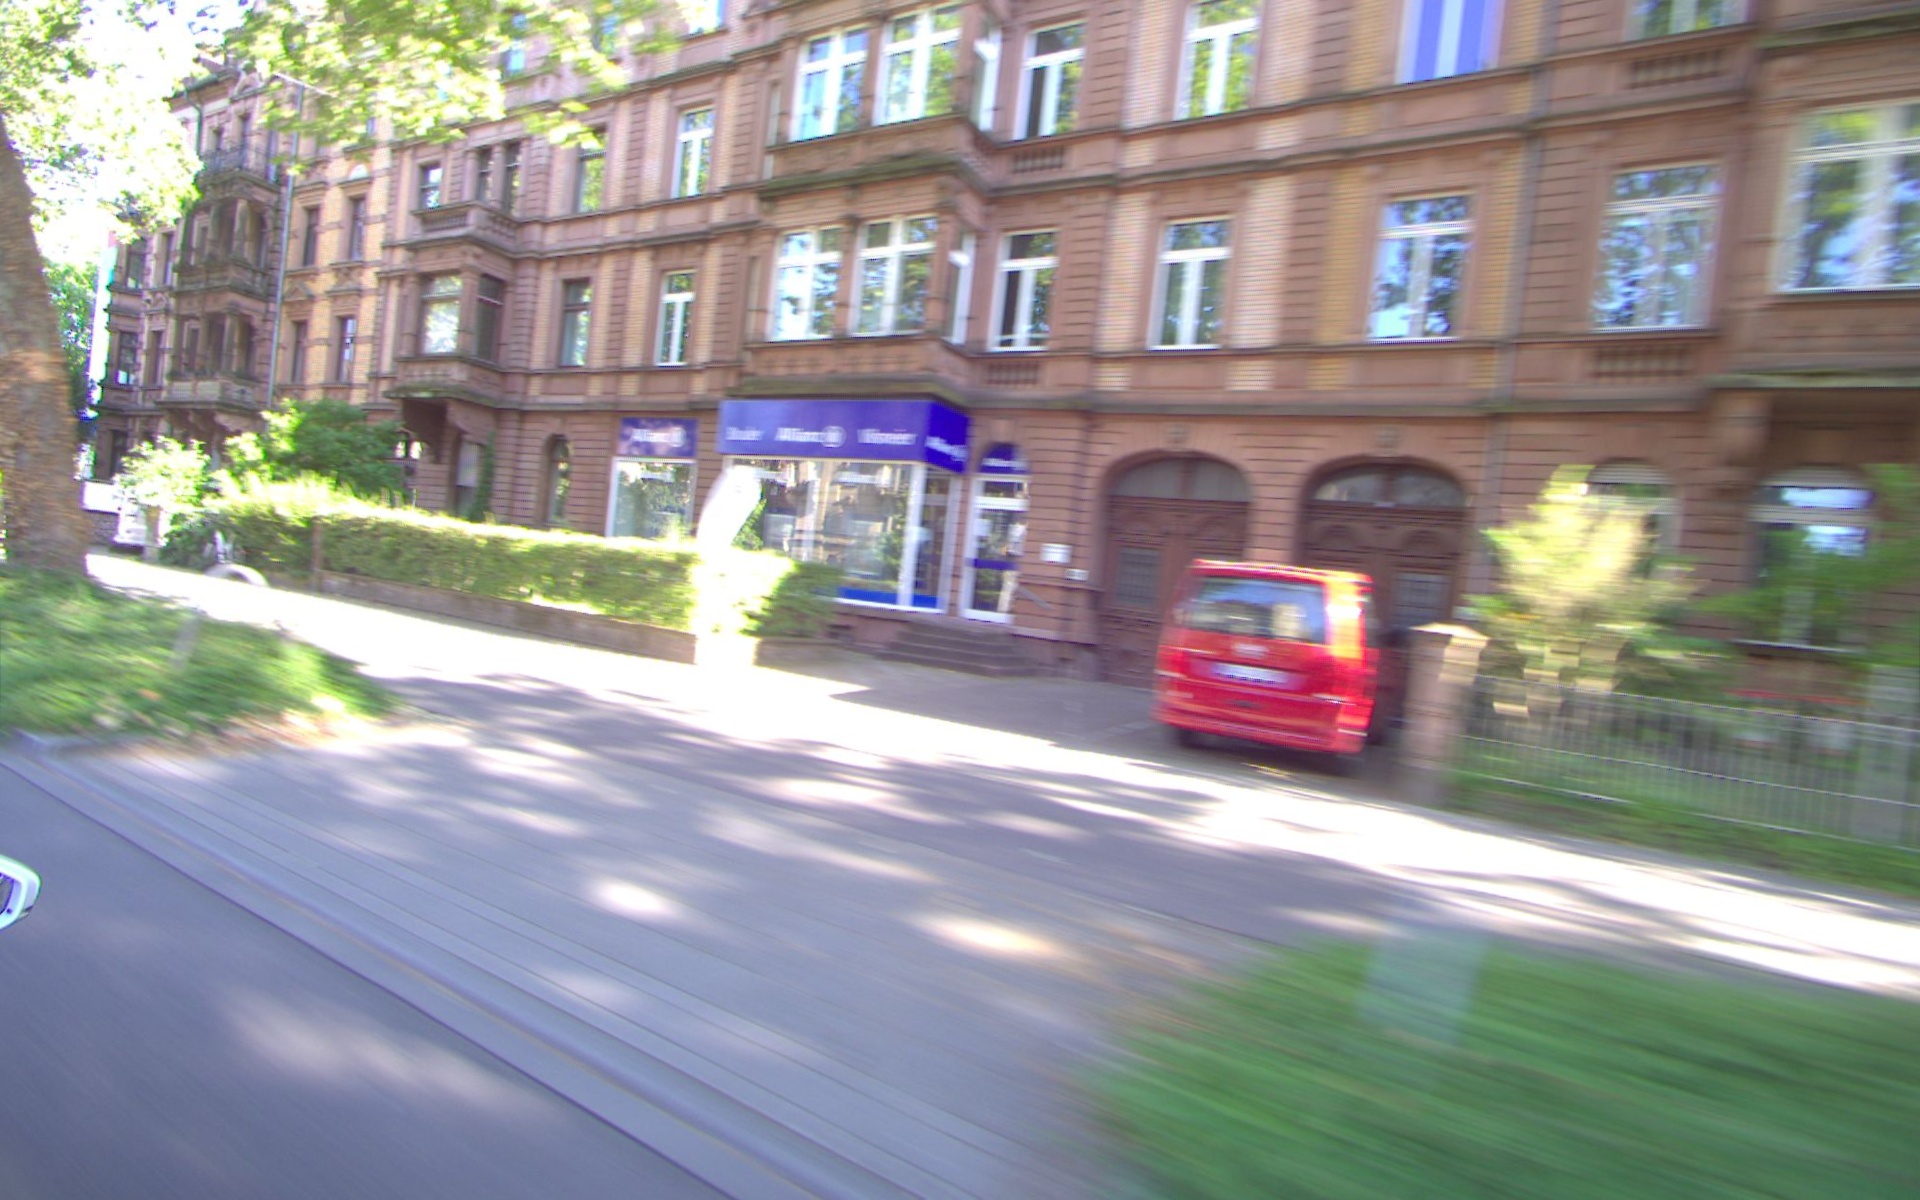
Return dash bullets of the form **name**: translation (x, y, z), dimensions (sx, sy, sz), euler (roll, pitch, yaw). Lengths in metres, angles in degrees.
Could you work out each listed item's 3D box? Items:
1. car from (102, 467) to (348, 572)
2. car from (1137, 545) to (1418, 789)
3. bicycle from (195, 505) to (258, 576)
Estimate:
- **car**: translation (-18.442, -1.959, 25.482), dimensions (1.882, 2.040, 4.575), euler (7, 2, 31)
- **car**: translation (3.722, 0.624, 11.244), dimensions (1.966, 2.041, 4.178), euler (7, 2, 30)
- **bicycle**: translation (-14.556, -1.191, 19.953), dimensions (1.739, 1.264, 0.338), euler (7, -1, 36)
